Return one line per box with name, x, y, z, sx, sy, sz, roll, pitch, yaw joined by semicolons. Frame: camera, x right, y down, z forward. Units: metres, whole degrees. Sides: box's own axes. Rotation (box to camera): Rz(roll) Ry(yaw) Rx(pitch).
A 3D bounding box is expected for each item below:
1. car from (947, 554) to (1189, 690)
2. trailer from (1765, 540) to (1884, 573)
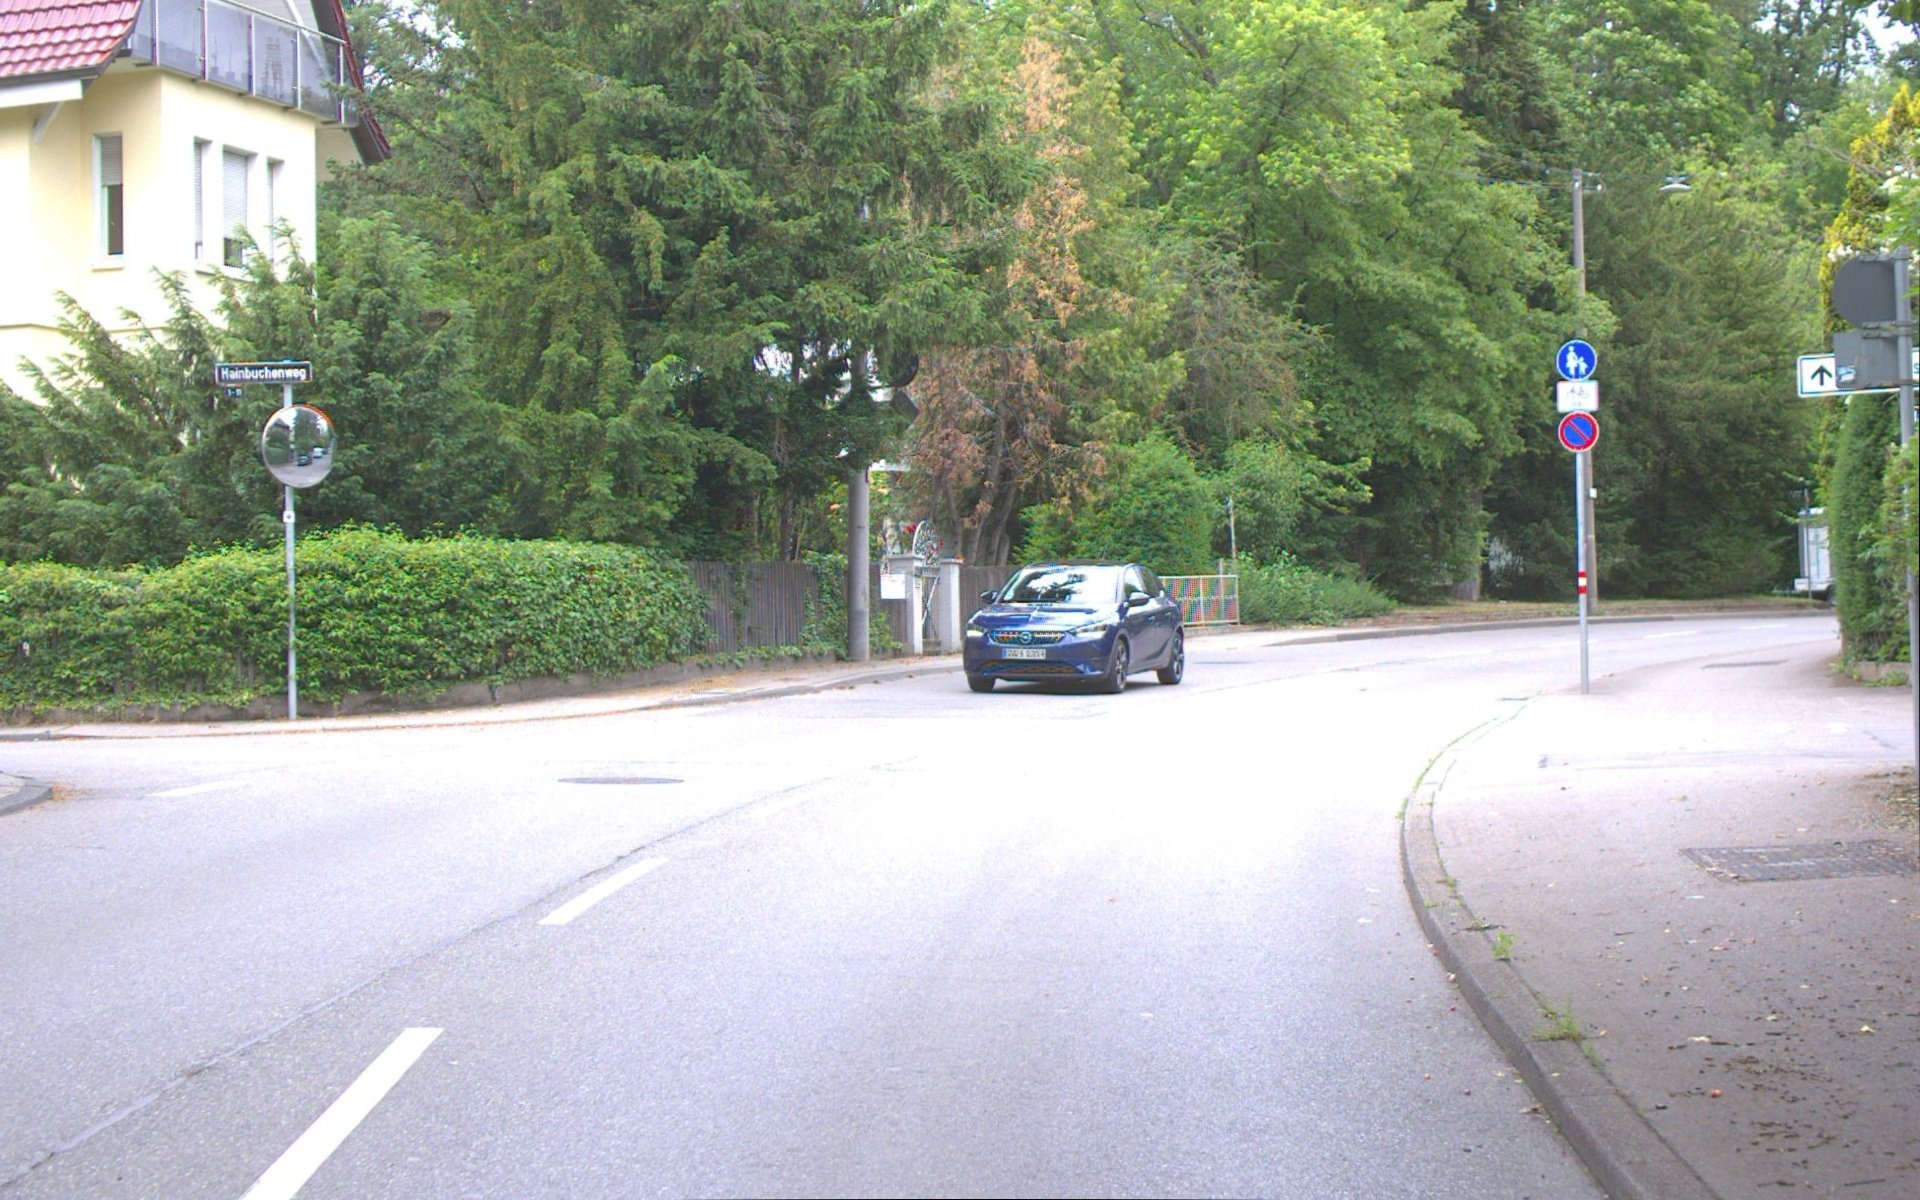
car;1.278;0.210;38.652;1.758;1.434;4.090;0;1;16
trailer;23.777;-1.189;94.558;2.958;0.826;1.474;-1;-1;24
